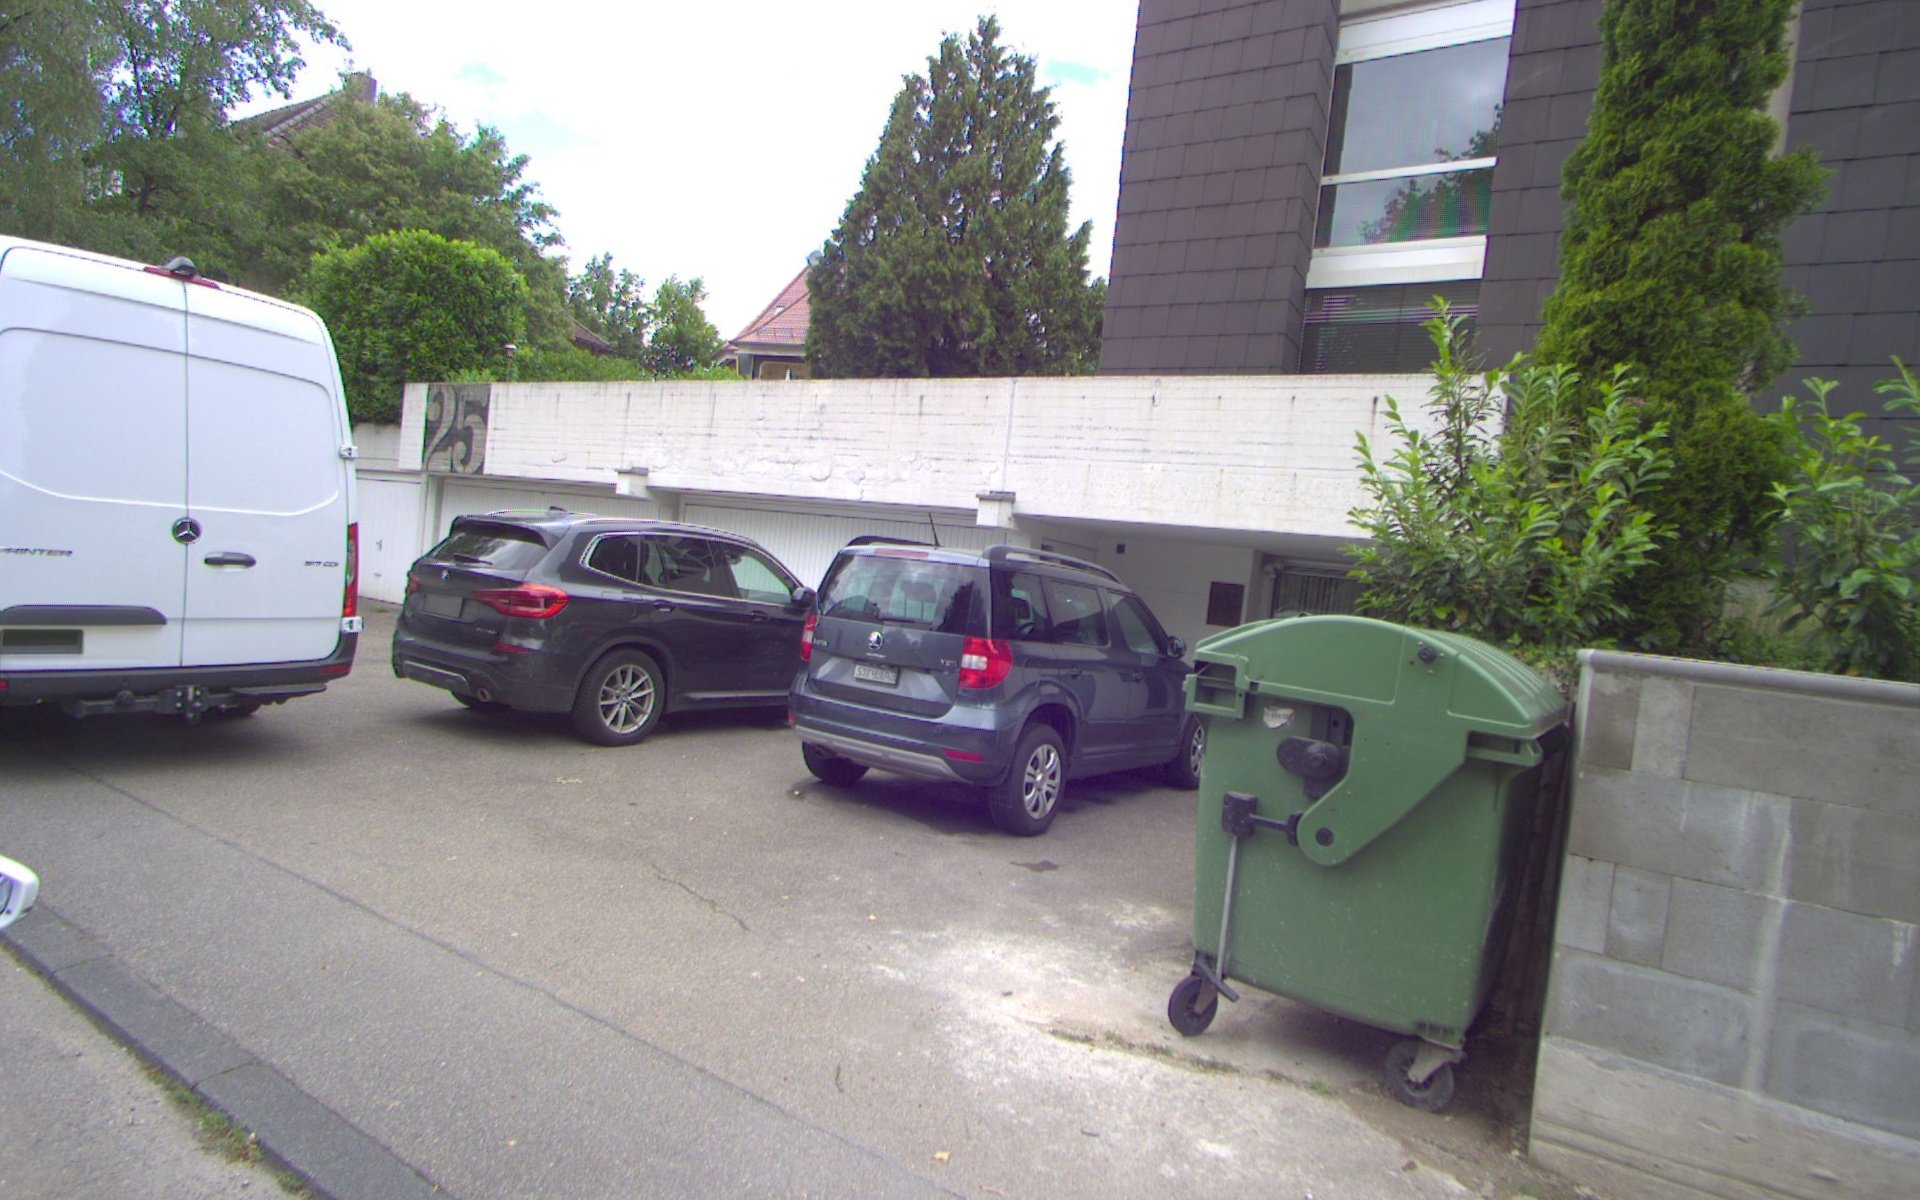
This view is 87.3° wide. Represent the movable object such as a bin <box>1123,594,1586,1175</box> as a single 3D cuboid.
[{"bbox_3d":[1.429,0.785,3.543,1.161,1.470,1.300,7,2,31],"label":"movable object such as a bin"}]

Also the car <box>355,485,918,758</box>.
[{"bbox_3d":[-2.428,0.172,8.701,1.800,1.674,4.394,7,2,33],"label":"car"}]

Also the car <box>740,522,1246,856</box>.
[{"bbox_3d":[0.494,0.518,7.370,1.801,1.674,3.796,7,2,35],"label":"car"}]

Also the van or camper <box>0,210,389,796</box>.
[{"bbox_3d":[-6.660,-0.715,6.832,6.252,2.664,1.963,7,4,31],"label":"van or camper"}]
